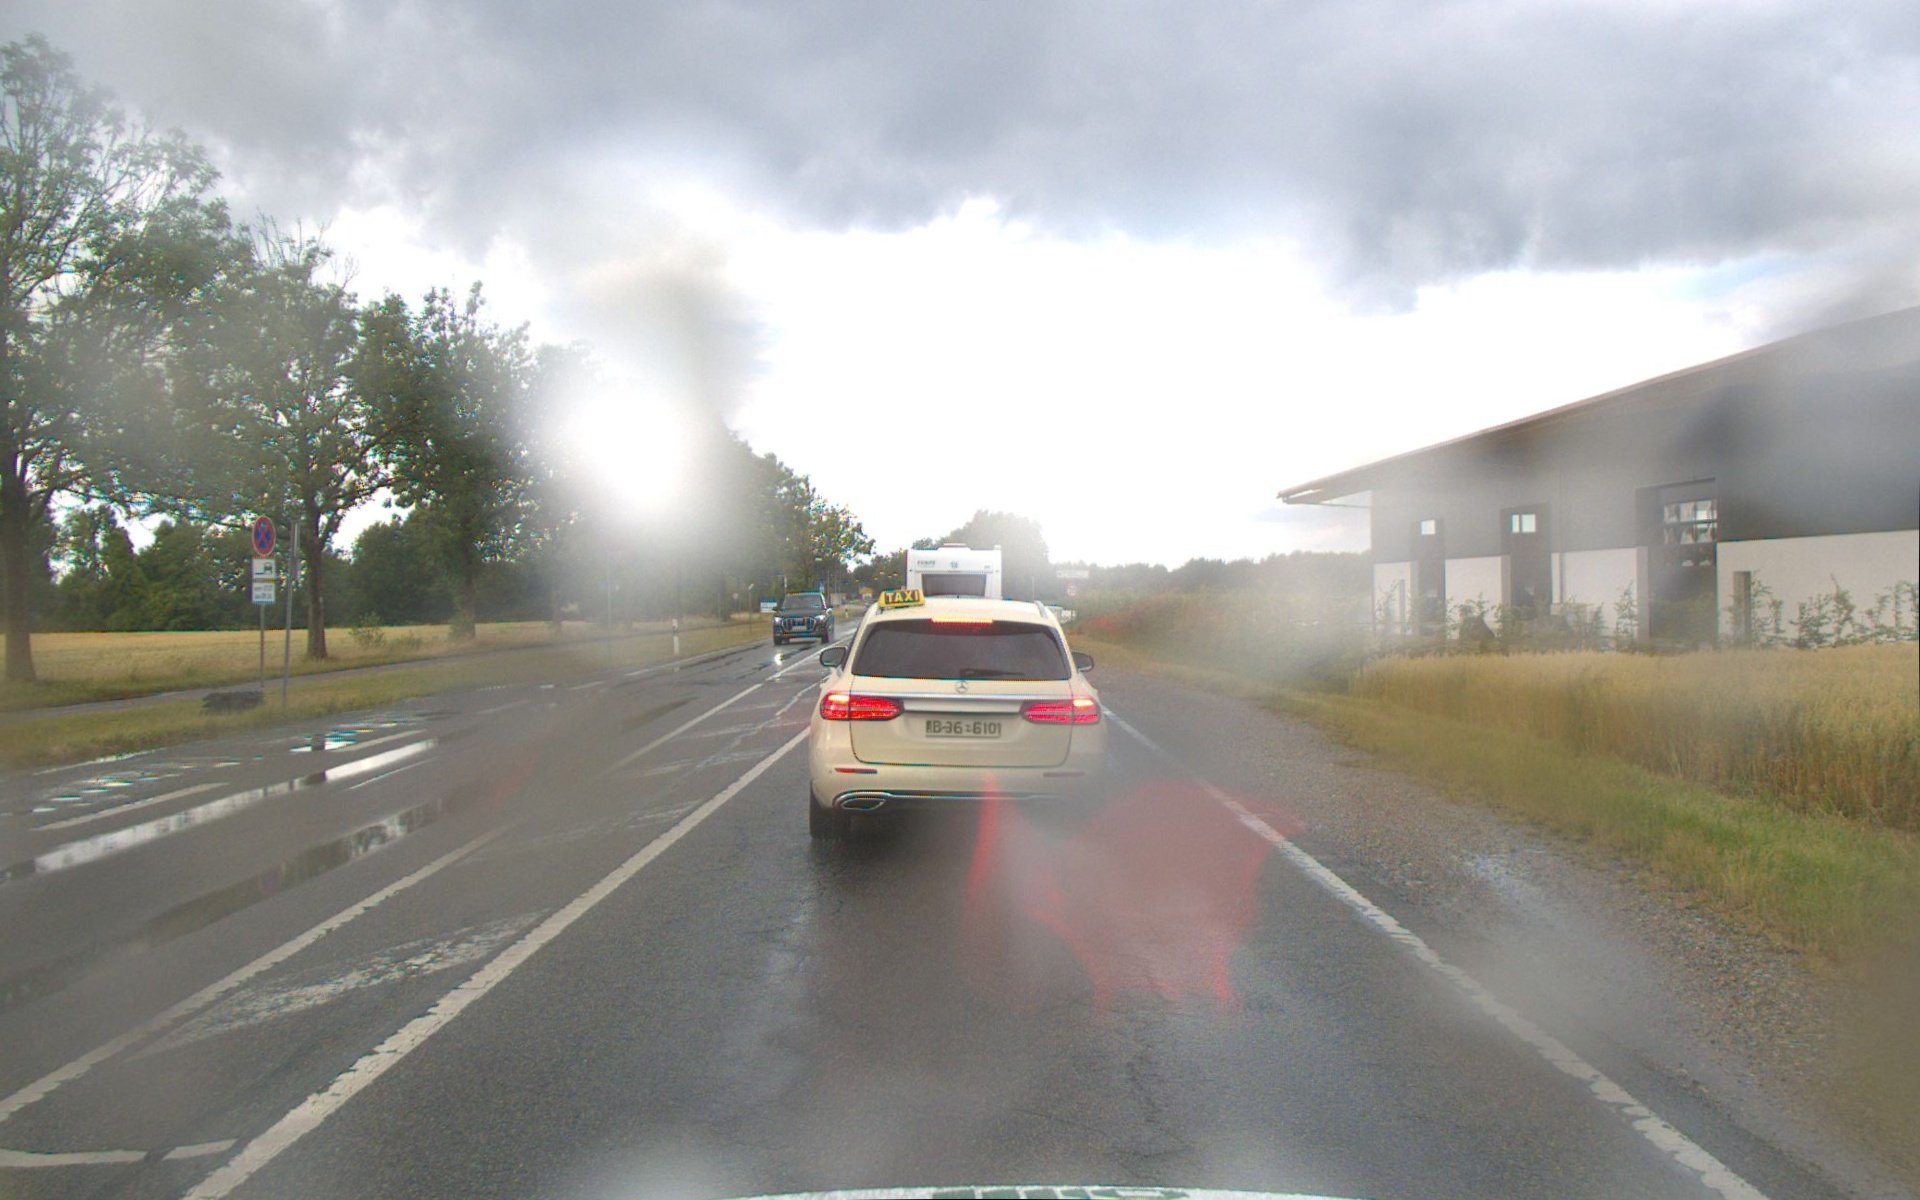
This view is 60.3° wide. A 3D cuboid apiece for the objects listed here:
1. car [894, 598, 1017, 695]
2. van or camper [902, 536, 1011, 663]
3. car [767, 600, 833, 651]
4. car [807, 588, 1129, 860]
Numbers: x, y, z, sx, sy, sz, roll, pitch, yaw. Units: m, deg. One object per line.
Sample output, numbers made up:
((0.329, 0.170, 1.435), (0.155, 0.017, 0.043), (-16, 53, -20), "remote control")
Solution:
((-0.108, 0.694, 26.896), (1.856, 1.454, 3.927), (0, 0, -1), "car")
((-0.061, -0.010, 41.334), (2.446, 2.880, 5.934), (-2, 0, 0), "van or camper")
((-5.423, 0.836, 56.449), (1.877, 1.660, 4.356), (0, 0, -1), "car")
((0.040, 0.673, 11.065), (1.760, 1.490, 4.030), (0, 0, 0), "car")
